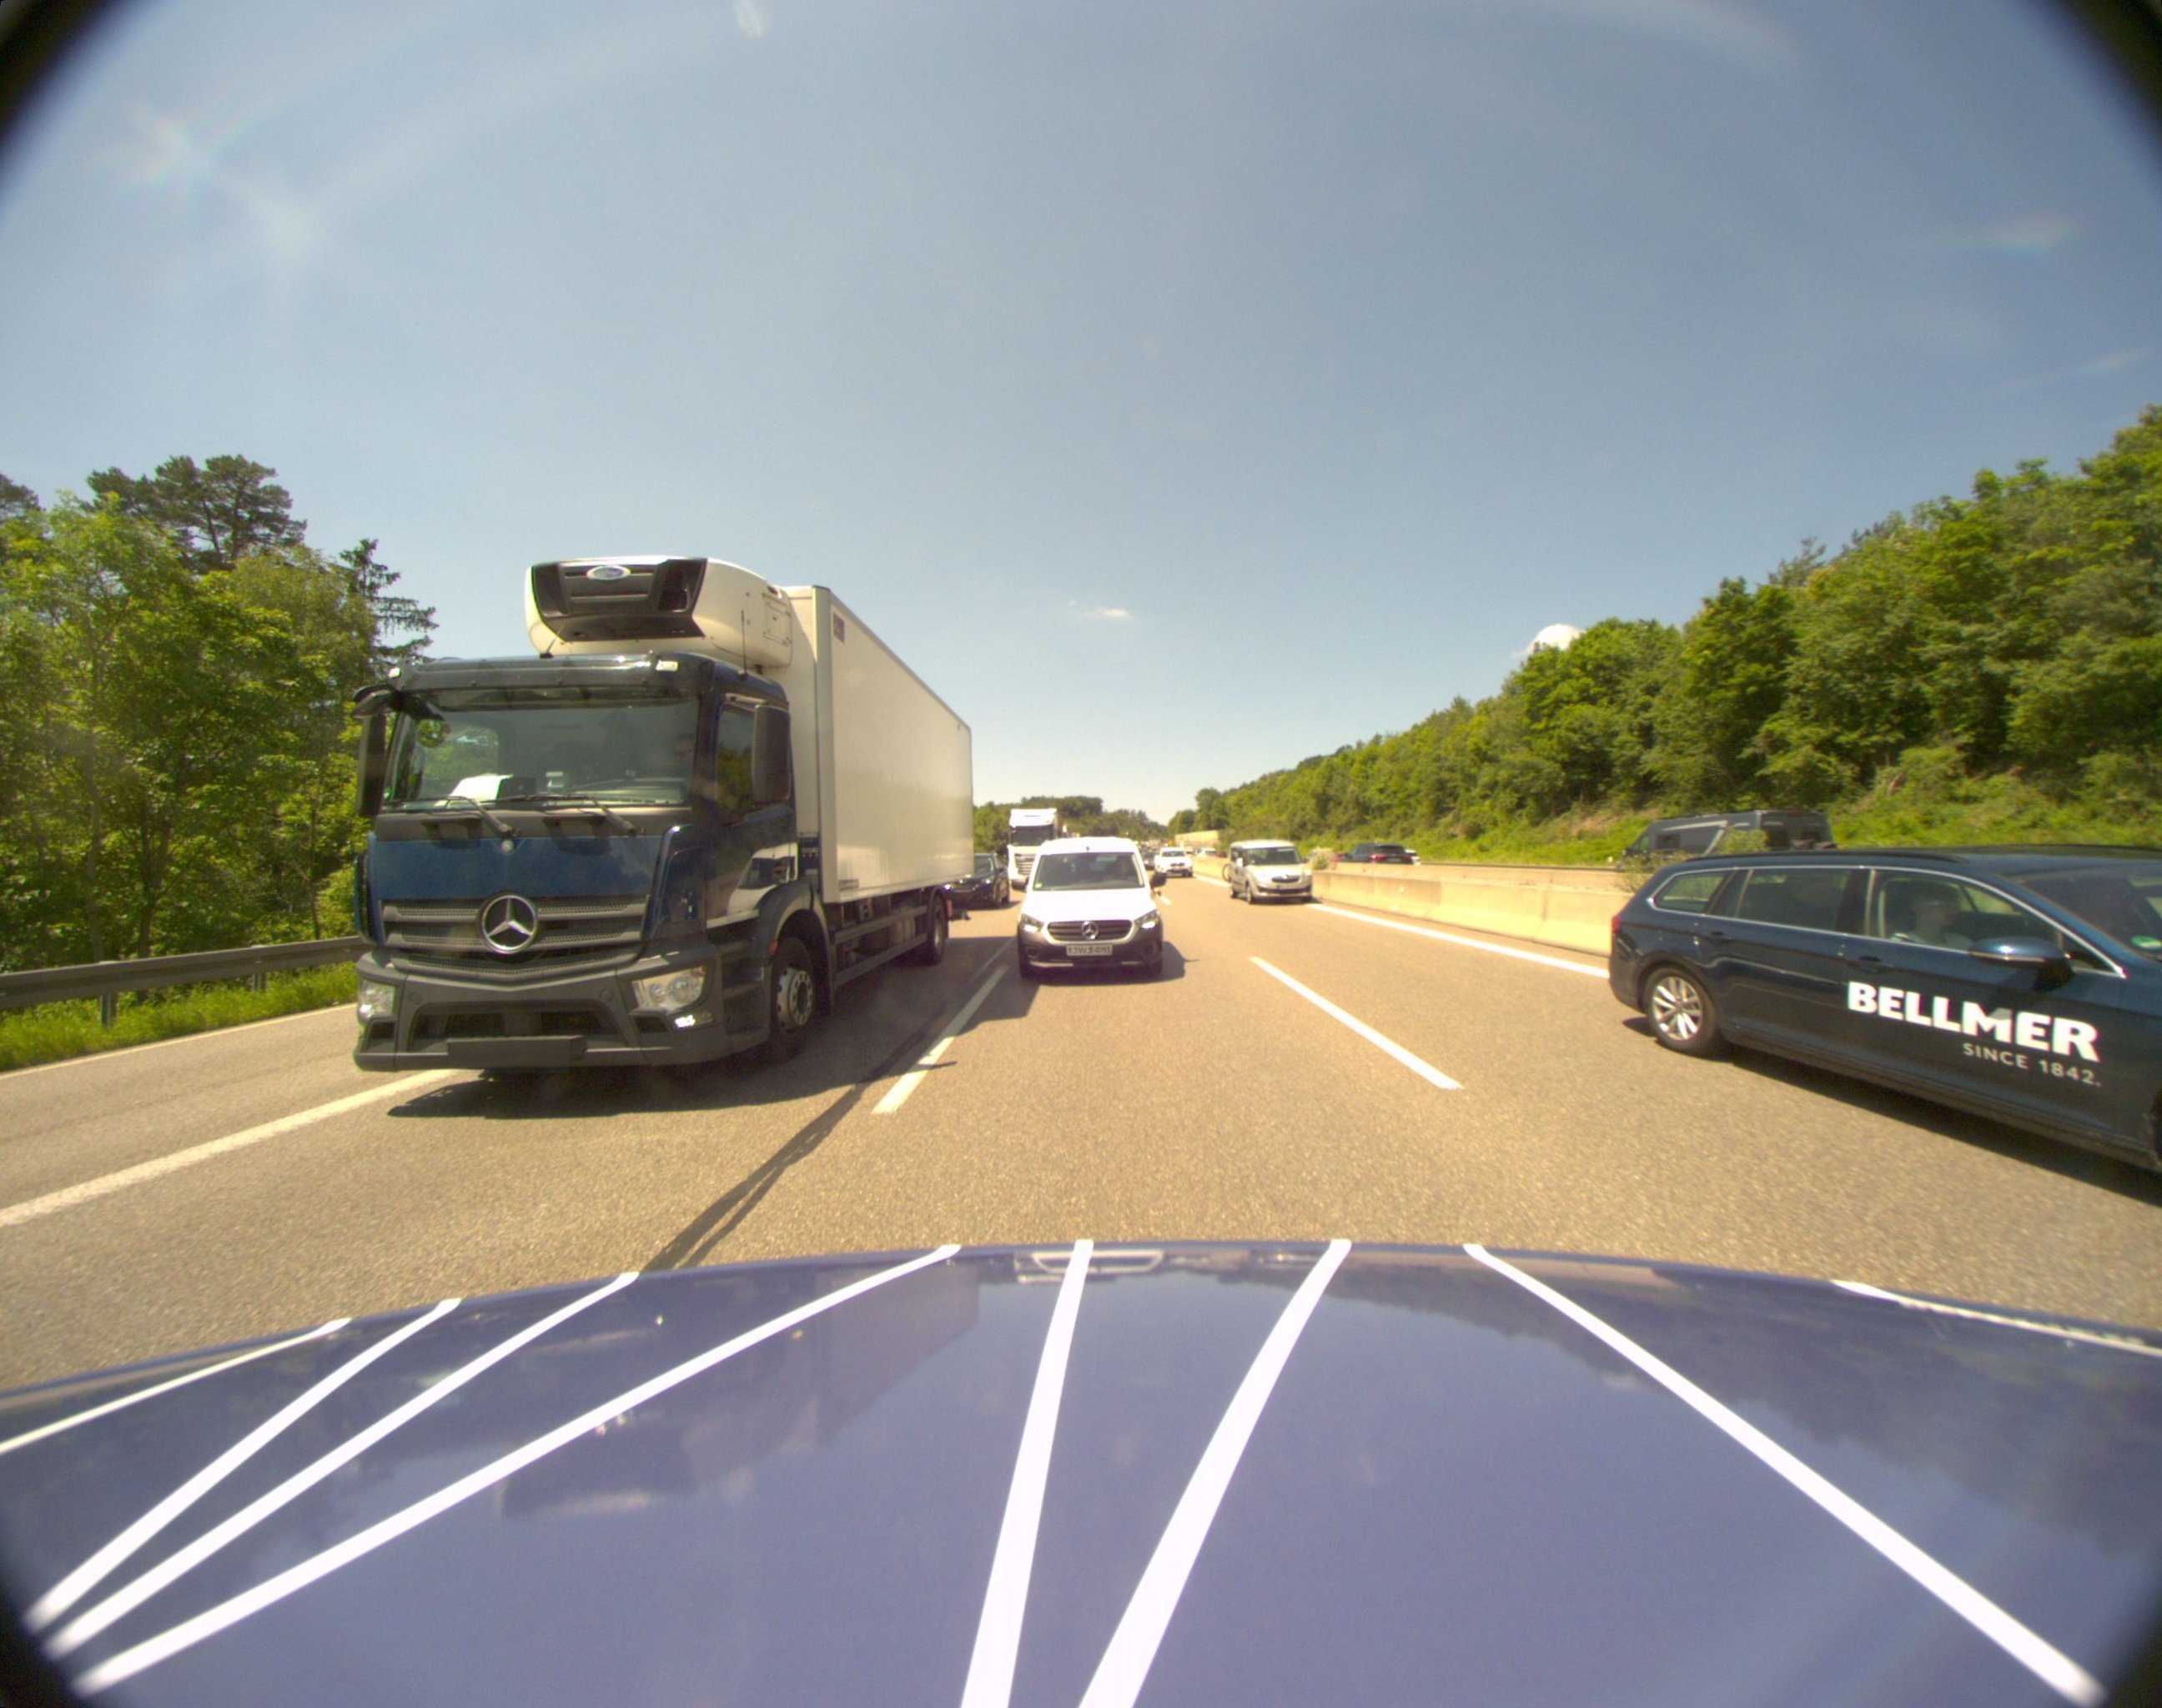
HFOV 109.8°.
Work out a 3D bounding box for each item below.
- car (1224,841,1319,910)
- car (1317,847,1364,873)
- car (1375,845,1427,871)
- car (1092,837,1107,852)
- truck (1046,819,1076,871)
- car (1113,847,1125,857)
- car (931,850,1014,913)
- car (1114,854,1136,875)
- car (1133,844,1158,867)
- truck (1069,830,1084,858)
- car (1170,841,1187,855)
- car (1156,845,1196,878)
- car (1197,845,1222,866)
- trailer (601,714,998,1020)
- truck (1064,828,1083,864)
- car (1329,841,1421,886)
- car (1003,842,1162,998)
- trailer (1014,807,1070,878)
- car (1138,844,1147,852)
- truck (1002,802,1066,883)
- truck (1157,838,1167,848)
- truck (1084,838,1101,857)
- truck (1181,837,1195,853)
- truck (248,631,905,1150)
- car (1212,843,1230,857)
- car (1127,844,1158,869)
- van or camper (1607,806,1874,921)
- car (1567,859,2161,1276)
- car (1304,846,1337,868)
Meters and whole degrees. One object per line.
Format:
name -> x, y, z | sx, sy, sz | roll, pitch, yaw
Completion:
car -> 5.603, 0.539, 22.951 | 1.856, 1.762, 4.917 | -2, 2, 3
car -> 19.485, 0.416, 57.352 | 1.998, 1.682, 4.512 | -2, 2, 0
car -> 23.858, 0.270, 56.855 | 1.998, 1.682, 4.512 | -2, 2, 0
car -> 2.707, -1.429, 110.923 | 1.999, 2.002, 3.998 | -2, 2, -1
truck -> -1.749, -0.818, 71.965 | 2.394, 4.438, 10.868 | -2, 0, 0
car -> 6.595, -0.376, 133.165 | 1.803, 1.660, 4.000 | -2, 0, 0
car -> -3.277, 0.768, 23.766 | 1.999, 1.682, 4.609 | 0, 2, -1
car -> 4.733, 1.111, 81.701 | 1.999, 2.002, 3.998 | -2, 2, -1
car -> 5.920, 0.135, 70.292 | 1.998, 2.002, 4.000 | -2, 0, 2
truck -> -0.625, -1.509, 118.113 | 2.187, 4.073, 10.868 | -2, 0, 0
car -> 14.792, -0.991, 115.513 | 1.998, 2.002, 4.192 | -2, 2, 1
car -> 5.409, 0.390, 43.734 | 1.824, 1.696, 3.999 | -2, 2, 1
car -> 13.242, 0.128, 78.629 | 1.998, 2.002, 4.347 | -2, 2, 3
trailer -> -3.157, 0.090, 11.286 | 2.562, 2.882, 7.882 | -2, 1, 2
truck -> -0.922, -1.005, 100.375 | 2.187, 4.438, 10.868 | -2, 0, 0
car -> 11.858, 0.446, 31.028 | 1.998, 1.681, 4.516 | -1, -2, 0
car -> 0.092, 0.726, 10.830 | 1.756, 1.681, 4.363 | -2, 2, 2
trailer -> -2.341, -0.801, 49.399 | 2.766, 4.061, 11.614 | 0, 2, 1
car -> 16.797, -1.706, 206.794 | 1.975, 2.002, 4.000 | -2, 0, 0
truck -> -2.487, -0.674, 42.783 | 2.766, 4.061, 7.332 | -2, 2, 2
truck -> 24.402, -3.349, 228.142 | 2.183, 2.868, 6.740 | -2, 2, 1
truck -> 2.770, -1.644, 189.812 | 4.084, 4.403, 11.396 | -2, 0, 0
truck -> 27.216, -2.279, 193.573 | 2.699, 3.967, 7.988 | -2, 2, 1
truck -> -3.345, 0.185, 6.373 | 2.562, 2.924, 4.103 | -1, 2, 2
car -> 21.335, -0.621, 116.174 | 1.998, 2.002, 4.282 | -2, 2, 2
car -> 4.727, 0.175, 58.447 | 1.999, 1.747, 3.999 | -2, 2, 0
van or camper -> 18.963, 0.146, 22.514 | 2.159, 2.843, 6.651 | -2, 2, 0
car -> 4.868, 0.784, 3.833 | 1.879, 1.441, 4.678 | -2, 0, 1
car -> 24.157, 0.299, 76.756 | 1.998, 2.002, 4.471 | -2, 2, 1
